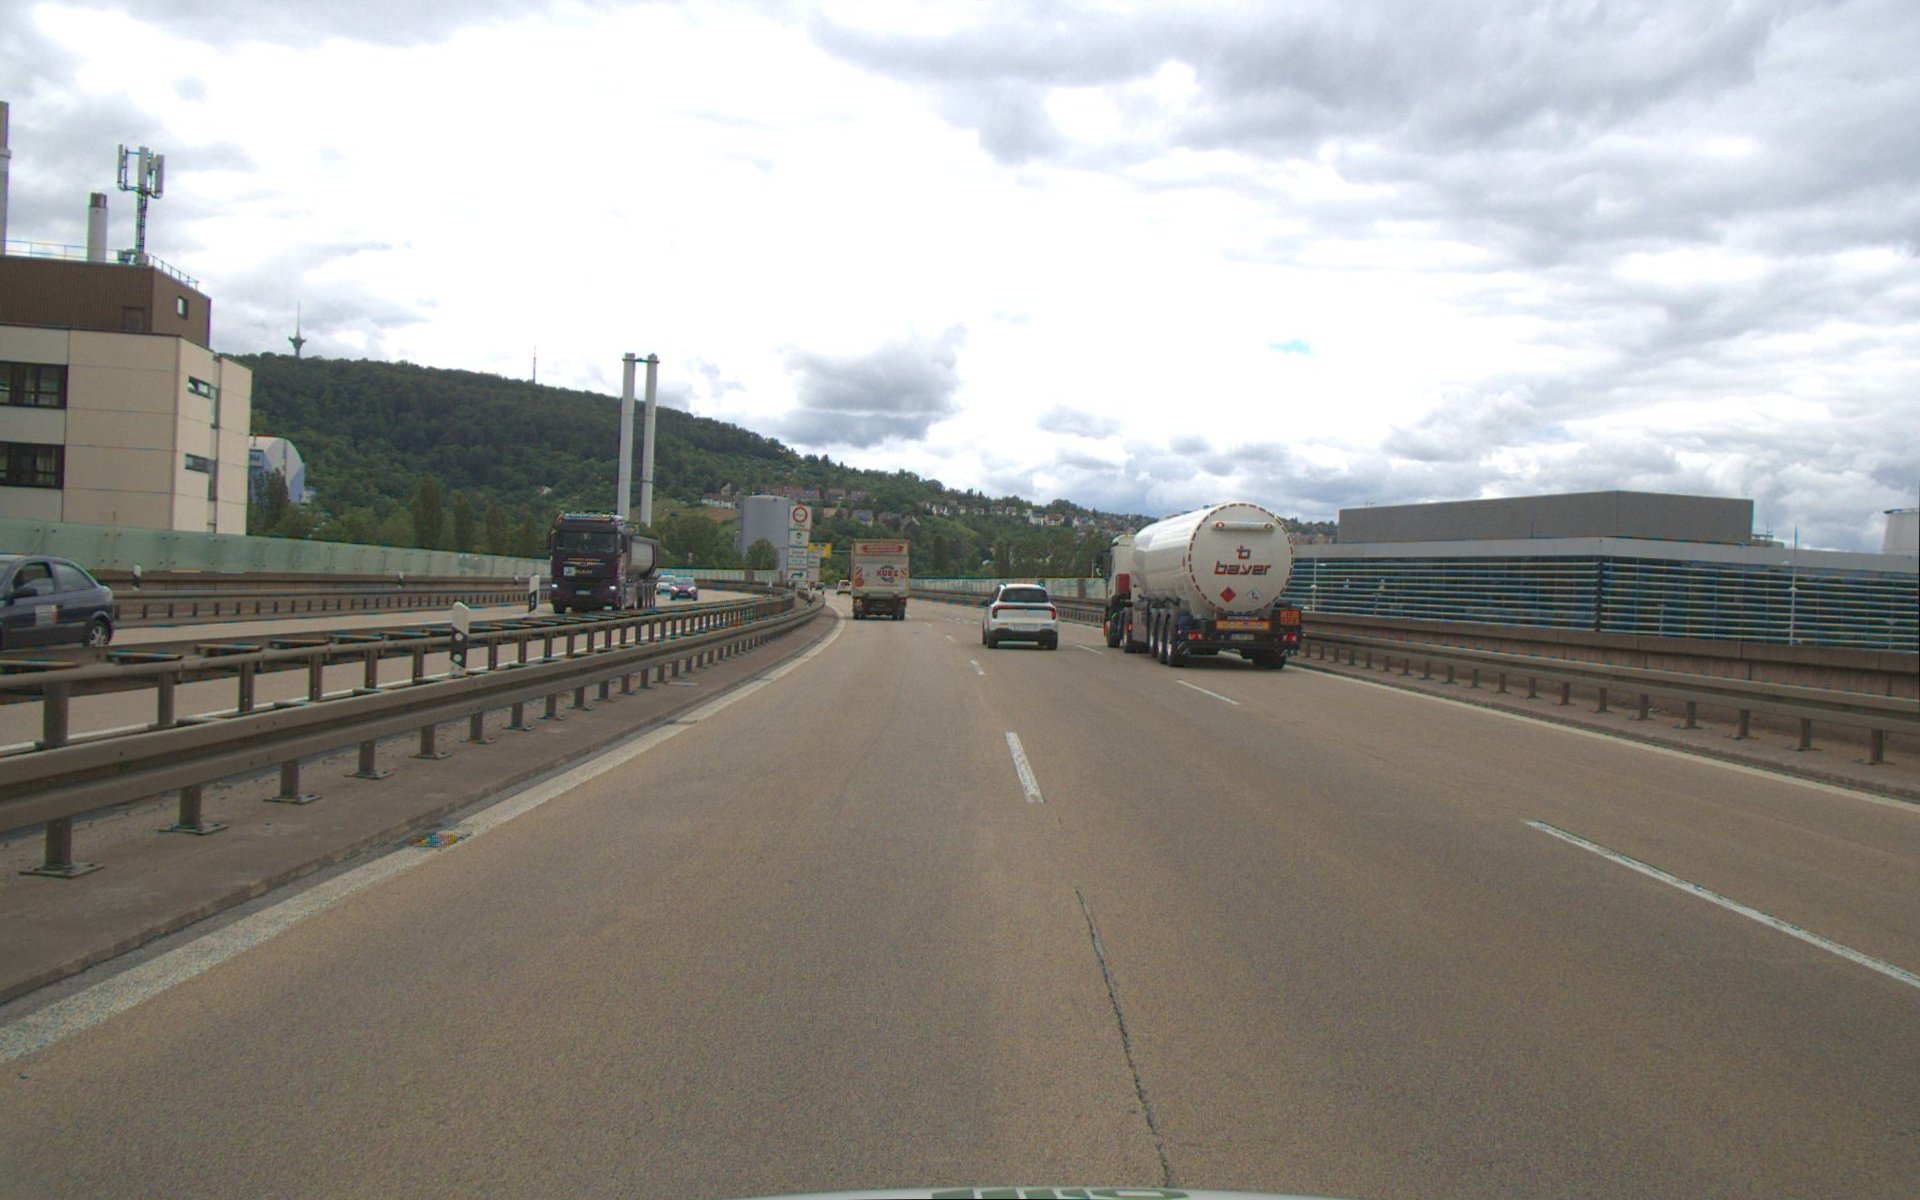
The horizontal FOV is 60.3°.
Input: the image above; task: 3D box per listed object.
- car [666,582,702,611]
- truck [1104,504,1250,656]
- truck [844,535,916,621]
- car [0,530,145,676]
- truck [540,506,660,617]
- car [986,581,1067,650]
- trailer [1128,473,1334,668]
[{"bbox_3d":[-17.325,-0.201,104.101,1.955,1.704,4.402,1,0,-6],"label":"car"},{"bbox_3d":[5.677,-0.488,44.267,2.953,3.721,6.272,1,0,-1],"label":"truck"},{"bbox_3d":[-3.660,-0.981,77.614,2.995,3.755,8.302,1,0,-1],"label":"truck"},{"bbox_3d":[-12.265,0.022,20.710,1.953,1.704,4.407,1,0,-1],"label":"car"},{"bbox_3d":[-13.857,-1.367,64.710,2.755,3.876,12.010,1,0,-4],"label":"truck"},{"bbox_3d":[1.732,0.399,44.309,1.953,1.704,4.407,1,0,0],"label":"car"},{"bbox_3d":[5.867,-0.571,37.365,2.995,3.856,8.300,1,0,-2],"label":"trailer"}]
